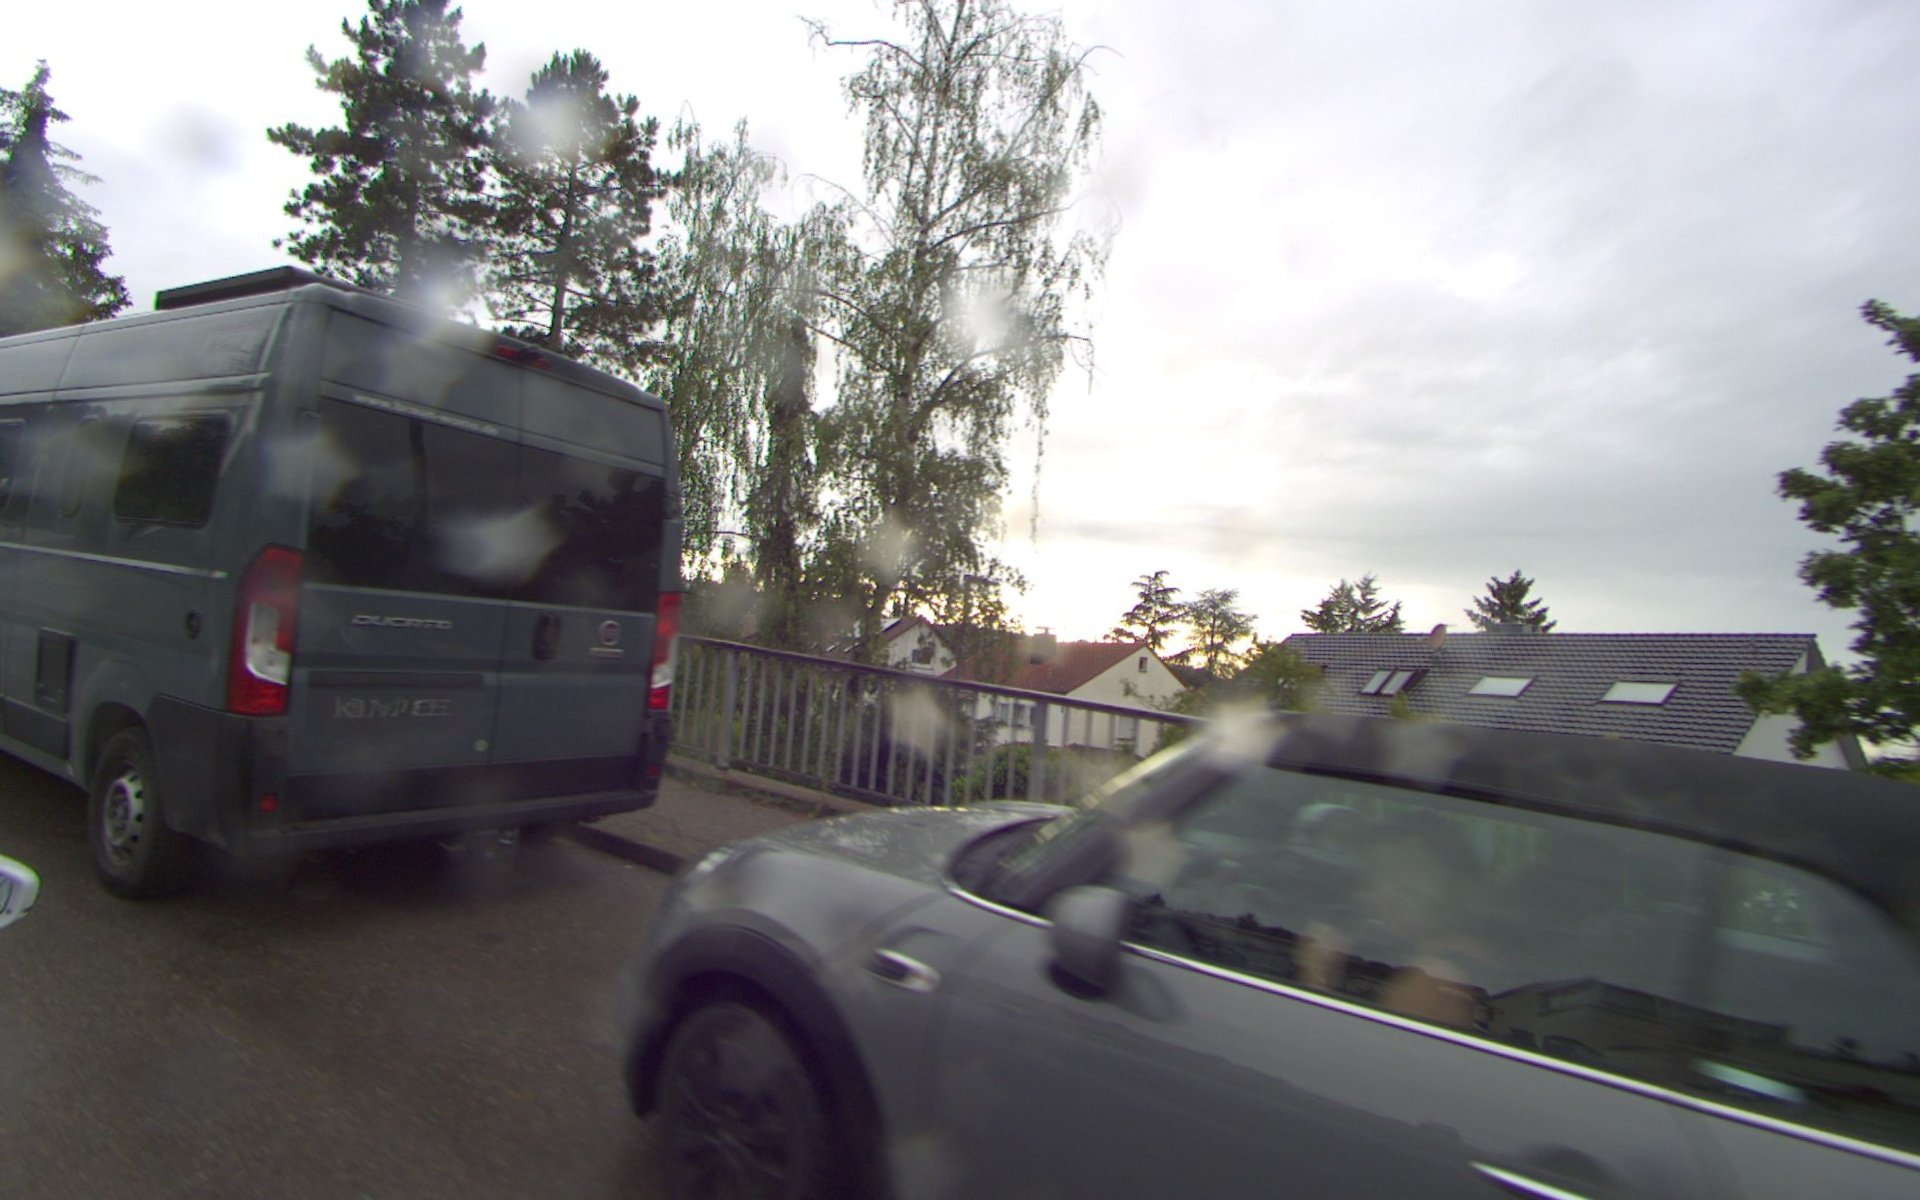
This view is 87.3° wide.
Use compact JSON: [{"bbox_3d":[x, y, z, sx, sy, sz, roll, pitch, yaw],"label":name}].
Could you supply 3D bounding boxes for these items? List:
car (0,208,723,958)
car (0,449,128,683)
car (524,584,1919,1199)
[{"bbox_3d":[-4.341,-0.232,5.802,5.858,2.535,2.034,6,-1,32],"label":"car"},{"bbox_3d":[-9.976,-0.516,9.312,5.182,1.864,1.830,6,-1,32],"label":"car"},{"bbox_3d":[0.949,0.914,2.216,3.736,1.446,1.591,6,-1,33],"label":"car"}]
